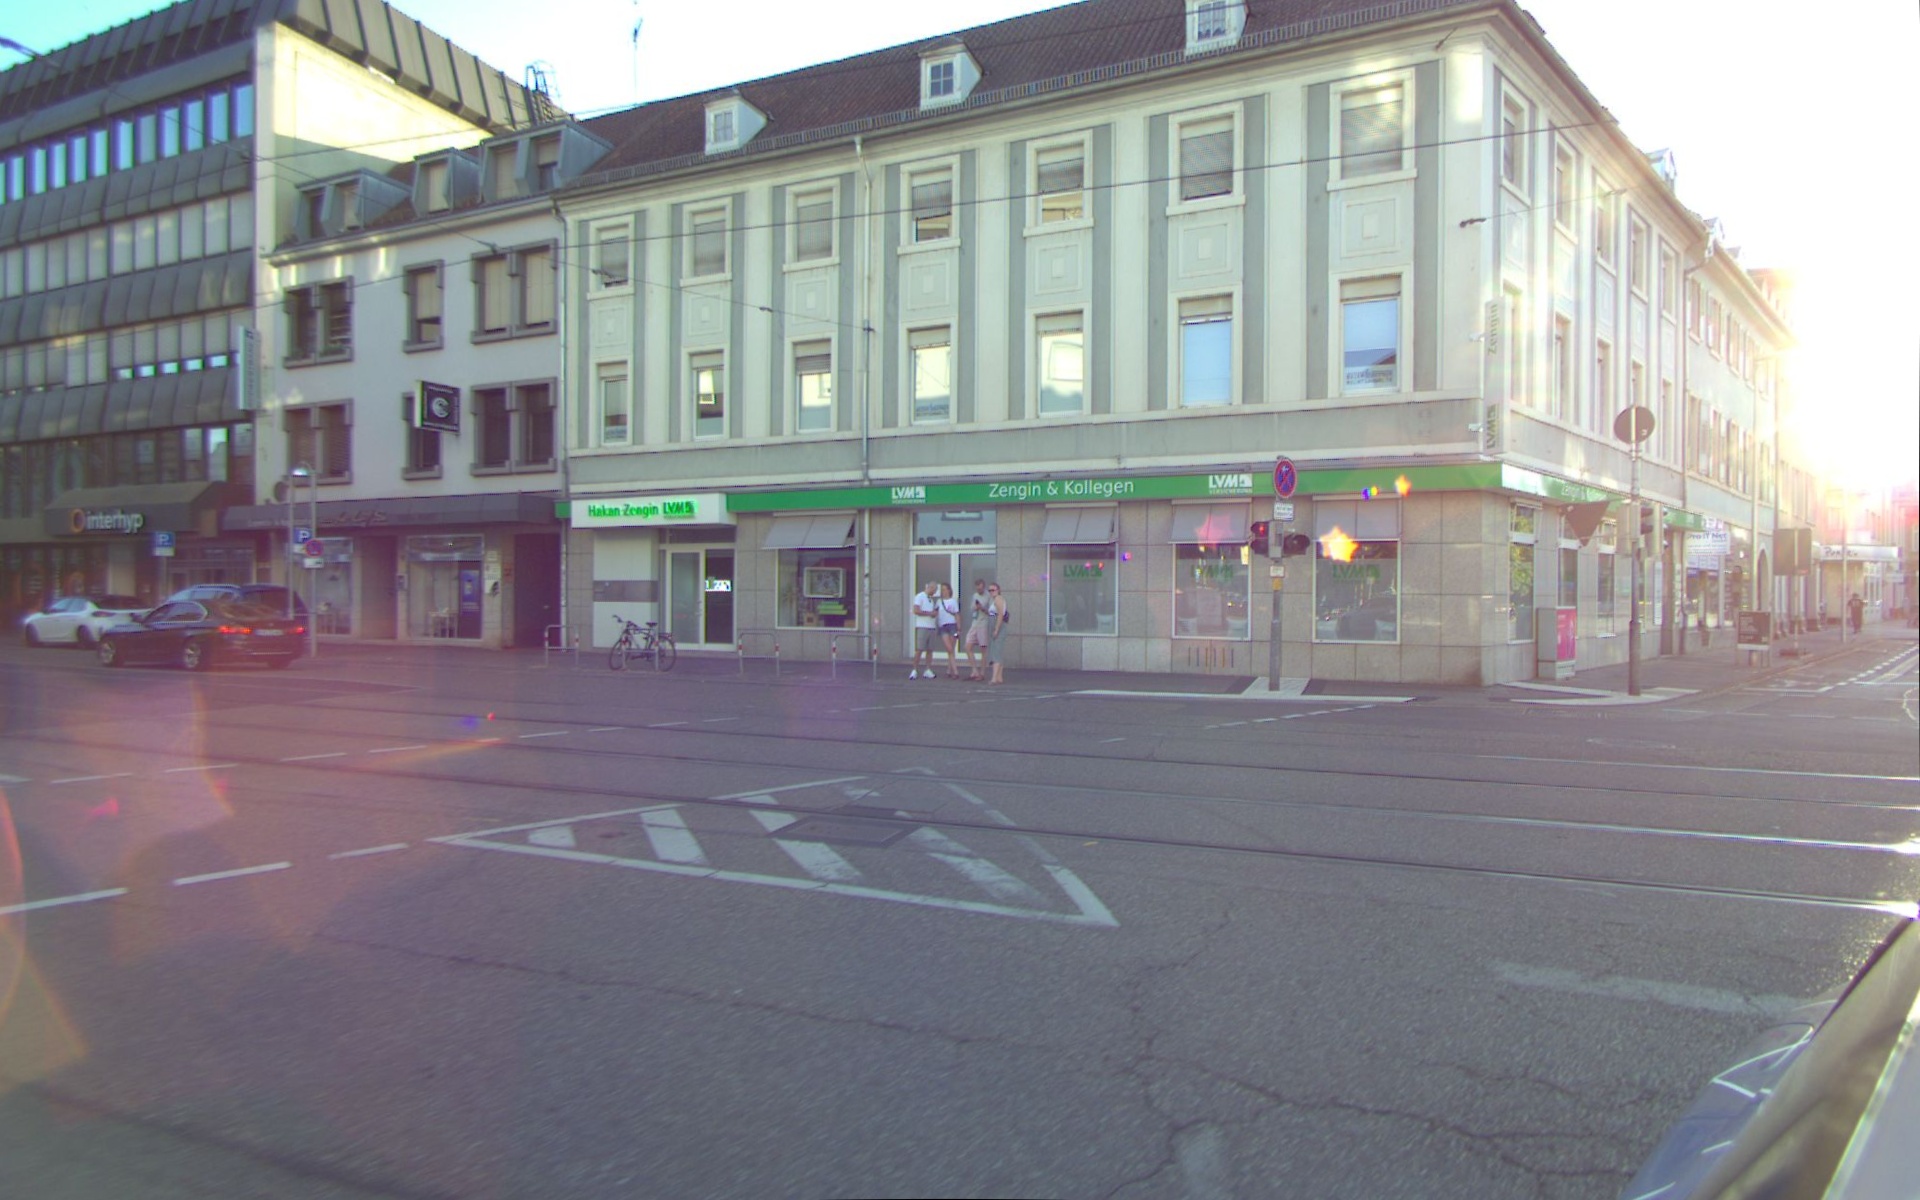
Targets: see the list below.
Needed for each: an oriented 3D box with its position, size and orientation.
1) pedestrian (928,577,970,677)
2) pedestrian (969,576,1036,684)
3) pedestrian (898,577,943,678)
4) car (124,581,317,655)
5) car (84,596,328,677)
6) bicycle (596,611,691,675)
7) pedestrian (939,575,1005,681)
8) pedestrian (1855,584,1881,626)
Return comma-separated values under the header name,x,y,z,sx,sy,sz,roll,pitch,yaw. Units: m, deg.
name,x,y,z,sx,sy,sz,roll,pitch,yaw
pedestrian,-0.195,0.494,18.588,0.672,1.794,0.628,-2,-1,7
pedestrian,0.744,0.506,17.558,0.774,1.794,0.895,-2,-1,35
pedestrian,-0.723,0.491,18.540,0.675,1.794,0.764,-2,-1,7
car,-18.545,0.438,25.383,4.459,1.725,1.984,-1,0,24
car,-15.412,0.668,20.688,4.456,1.438,1.986,1,1,22
bicycle,-6.273,0.841,20.036,1.855,1.199,0.689,-2,-1,29
pedestrian,0.215,0.487,18.133,0.774,1.835,0.895,-2,-1,35
pedestrian,39.731,0.207,44.275,0.667,1.806,0.714,2,2,31
